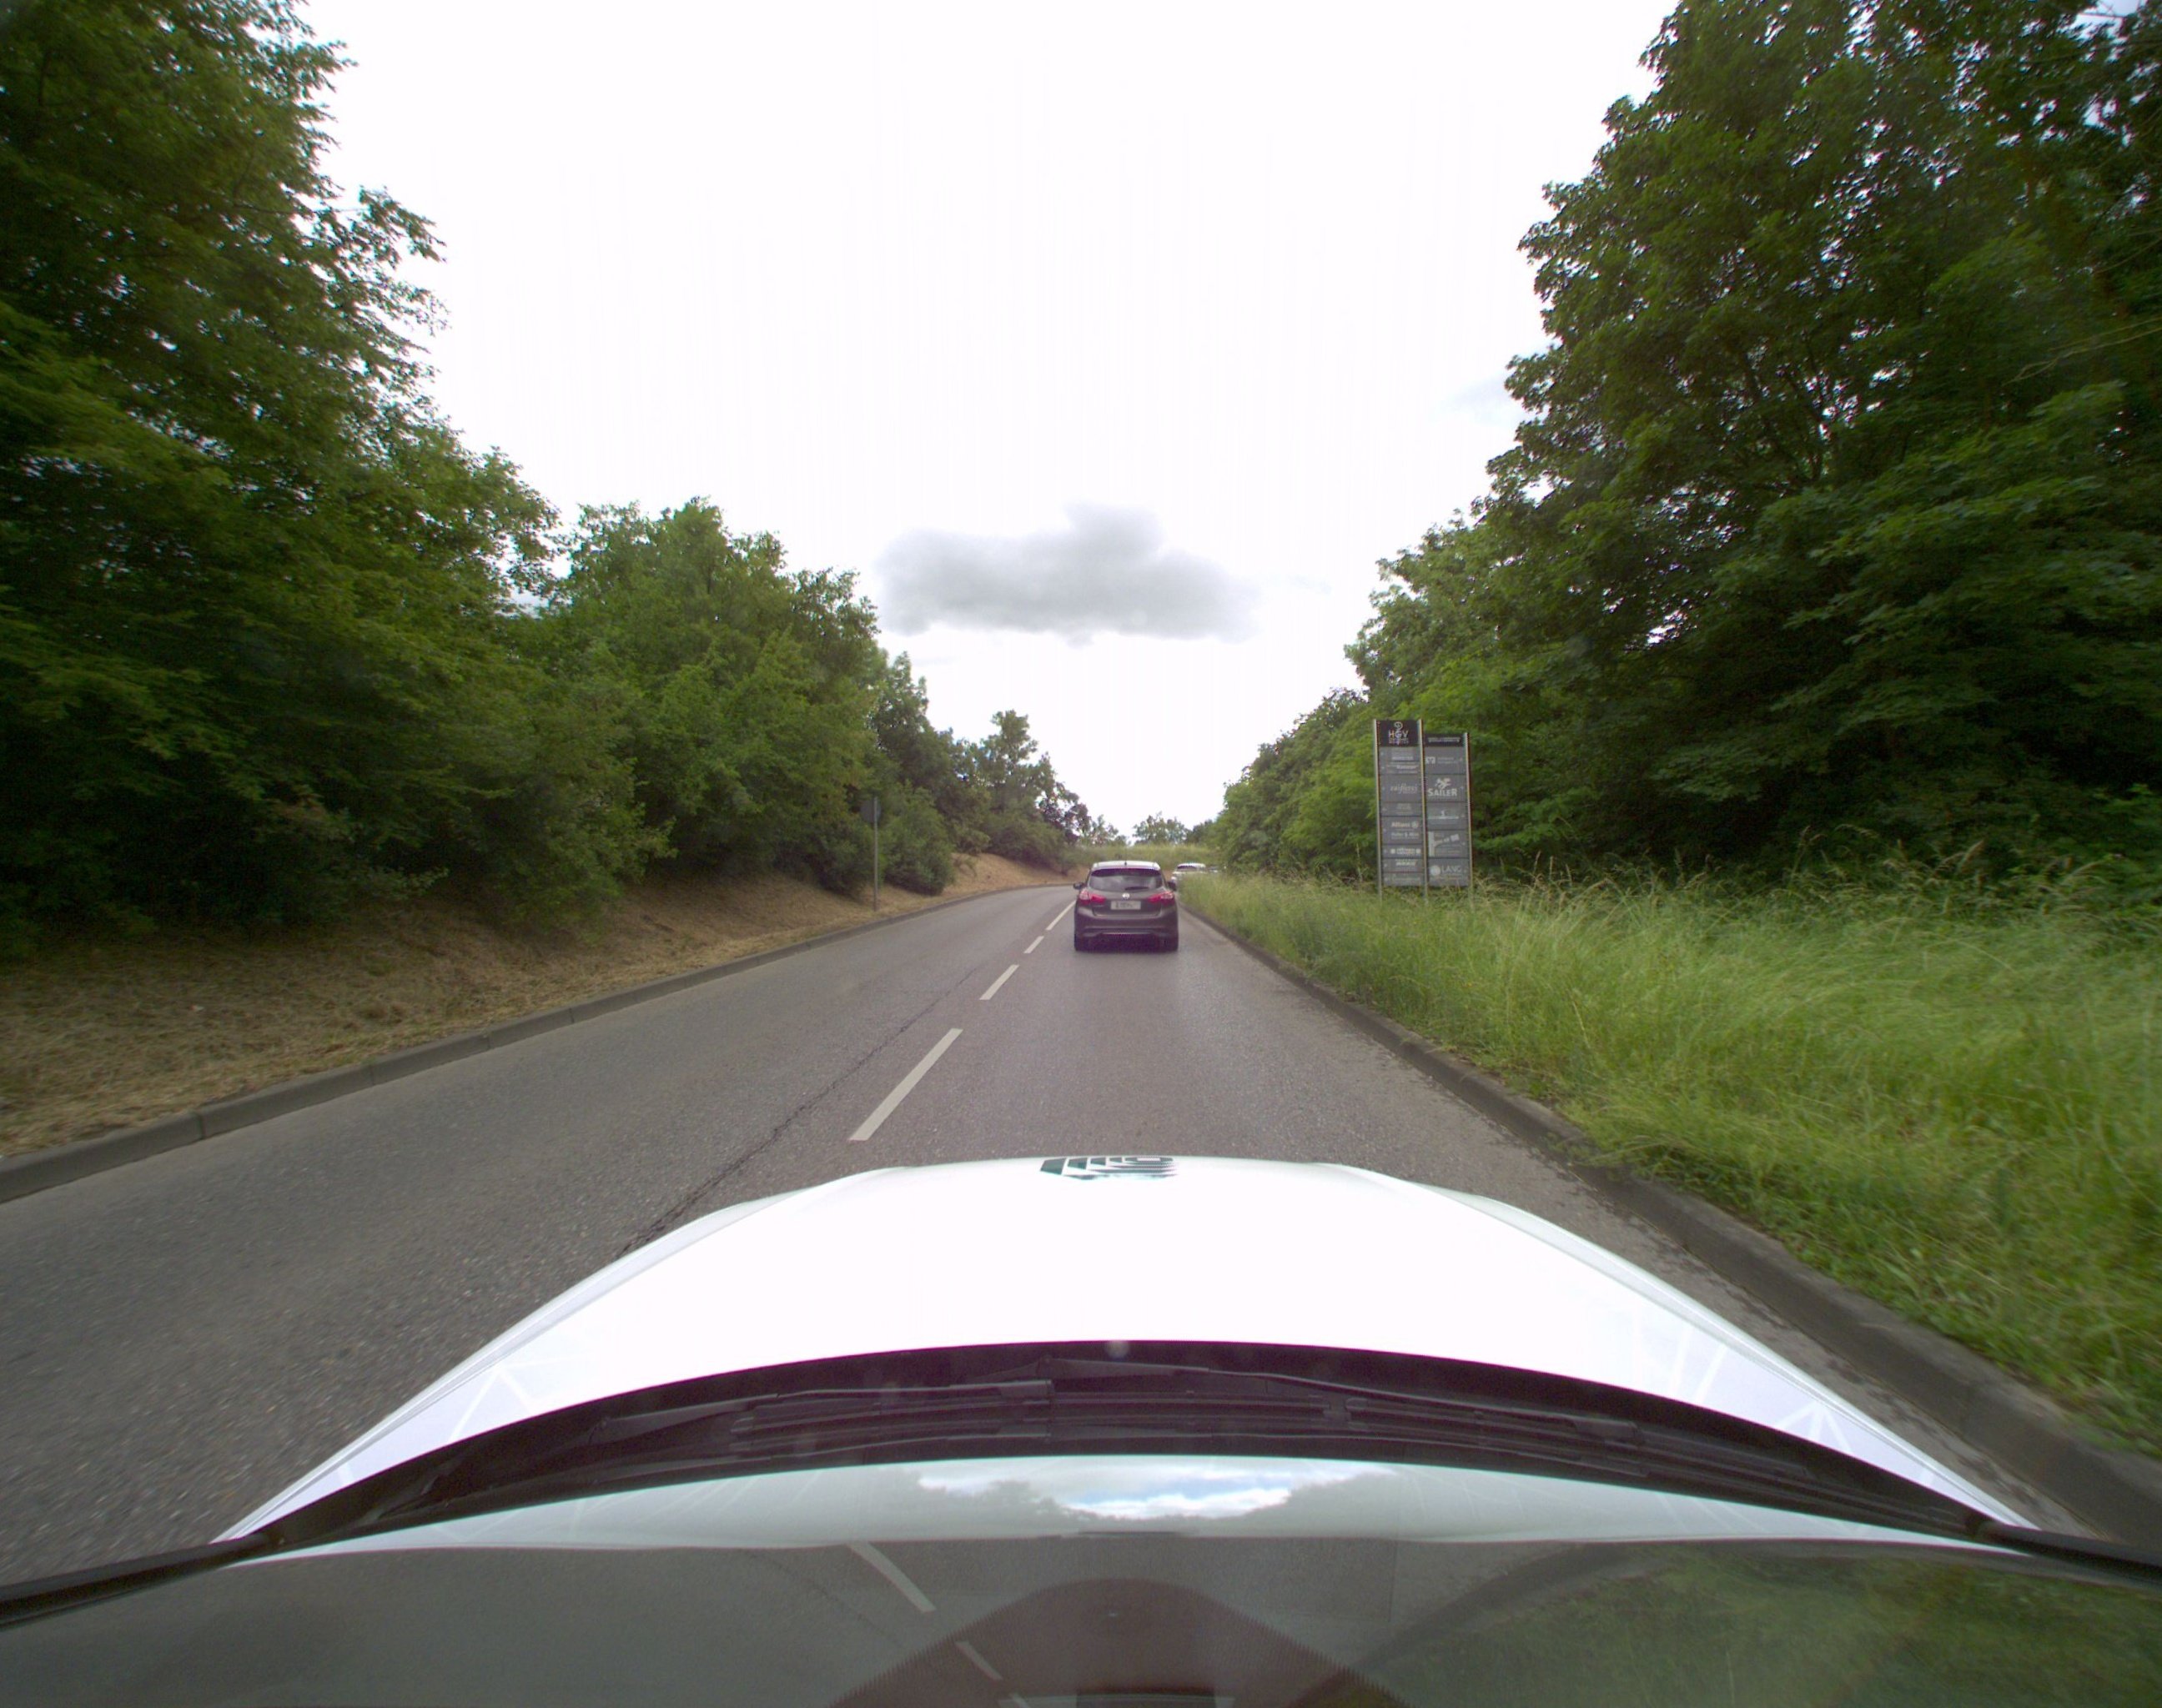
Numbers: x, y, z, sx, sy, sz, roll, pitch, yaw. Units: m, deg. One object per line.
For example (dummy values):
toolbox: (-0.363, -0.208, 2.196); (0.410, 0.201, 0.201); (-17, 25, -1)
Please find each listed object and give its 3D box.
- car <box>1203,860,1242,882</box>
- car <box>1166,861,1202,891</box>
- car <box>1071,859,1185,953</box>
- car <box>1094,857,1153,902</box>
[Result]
car: (10.073, 1.165, 57.666); (1.781, 1.398, 4.022); (-2, 0, 24)
car: (5.617, 1.148, 44.184); (1.710, 1.494, 3.587); (-2, 0, 11)
car: (0.759, 0.847, 15.149); (1.839, 1.493, 3.999); (0, 0, 0)
car: (1.505, 0.880, 30.038); (1.839, 1.493, 4.225); (-2, 0, -1)
